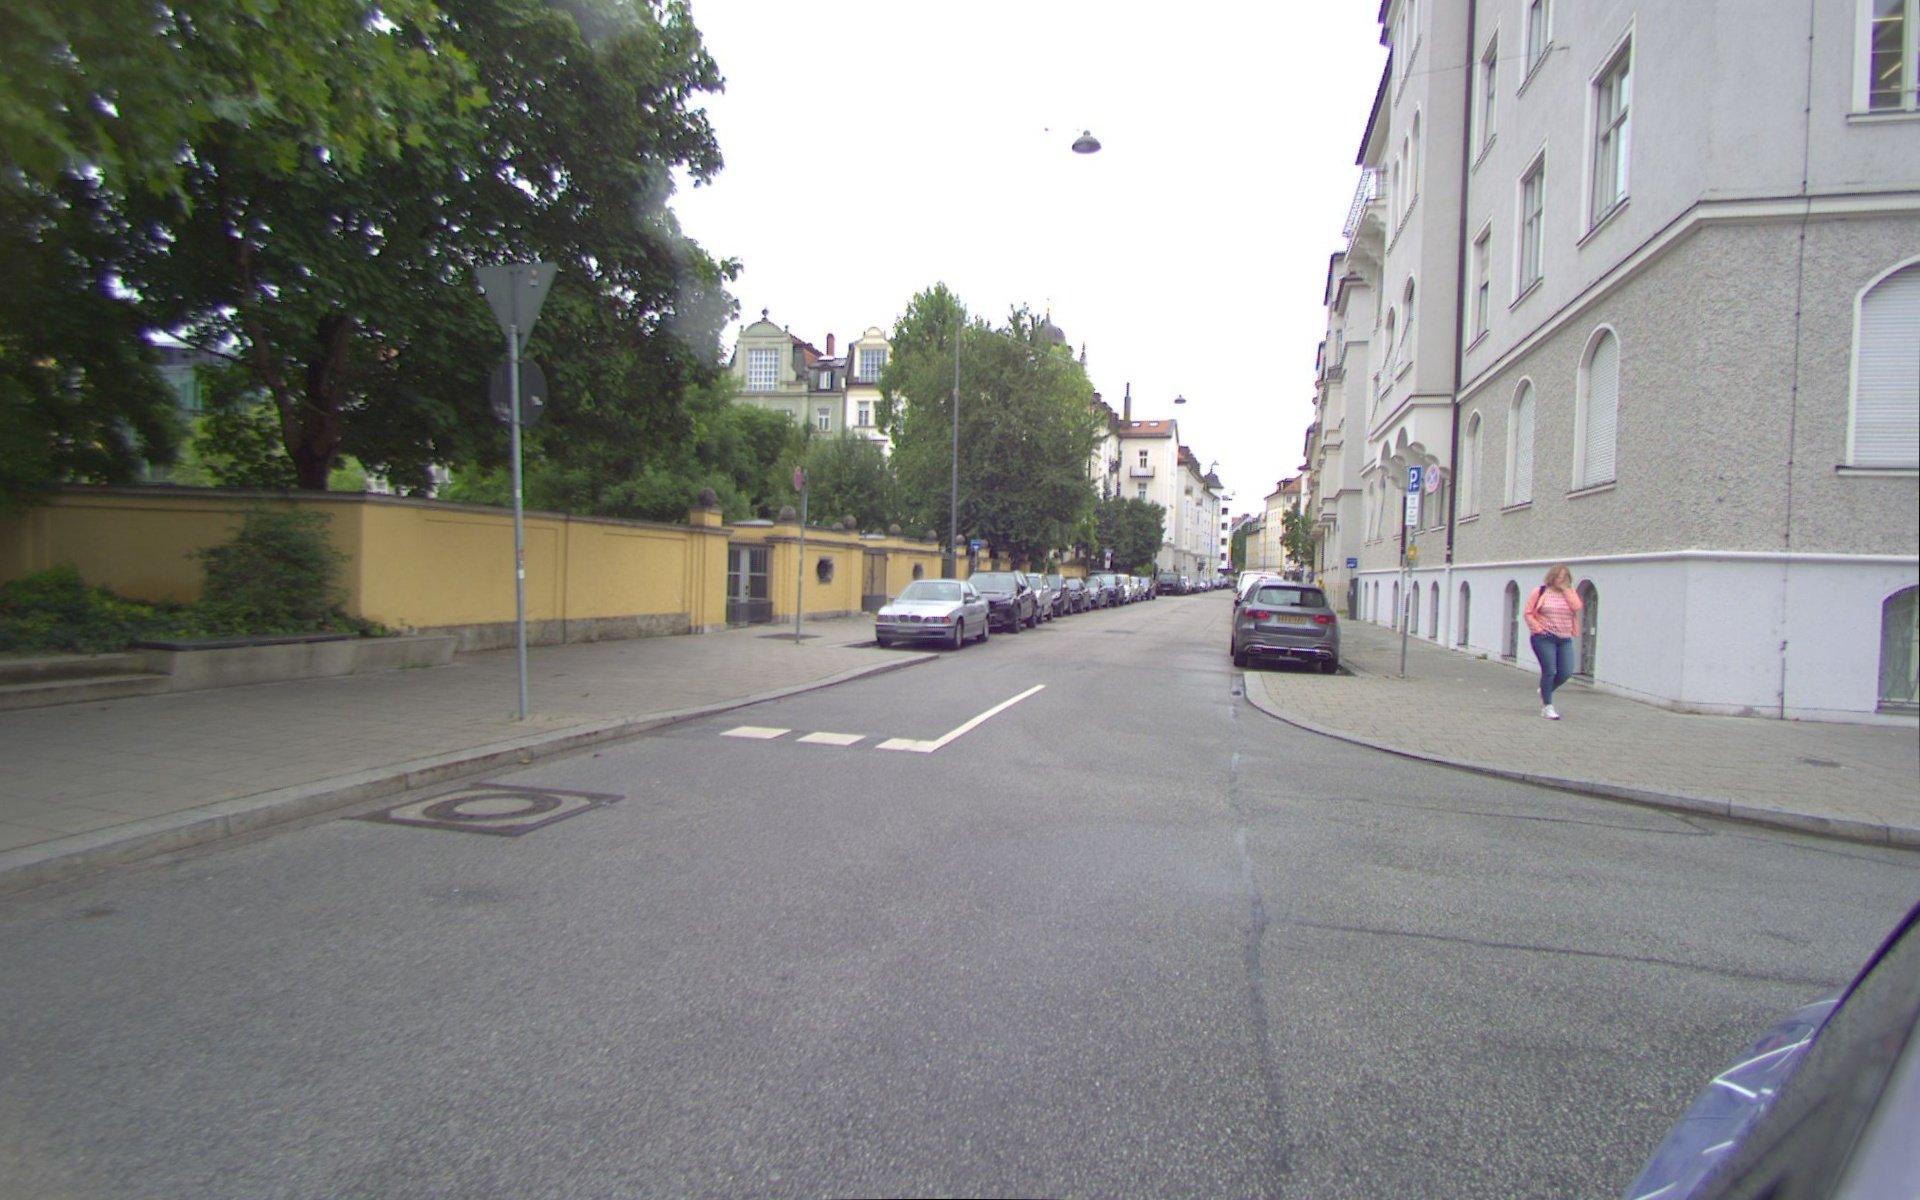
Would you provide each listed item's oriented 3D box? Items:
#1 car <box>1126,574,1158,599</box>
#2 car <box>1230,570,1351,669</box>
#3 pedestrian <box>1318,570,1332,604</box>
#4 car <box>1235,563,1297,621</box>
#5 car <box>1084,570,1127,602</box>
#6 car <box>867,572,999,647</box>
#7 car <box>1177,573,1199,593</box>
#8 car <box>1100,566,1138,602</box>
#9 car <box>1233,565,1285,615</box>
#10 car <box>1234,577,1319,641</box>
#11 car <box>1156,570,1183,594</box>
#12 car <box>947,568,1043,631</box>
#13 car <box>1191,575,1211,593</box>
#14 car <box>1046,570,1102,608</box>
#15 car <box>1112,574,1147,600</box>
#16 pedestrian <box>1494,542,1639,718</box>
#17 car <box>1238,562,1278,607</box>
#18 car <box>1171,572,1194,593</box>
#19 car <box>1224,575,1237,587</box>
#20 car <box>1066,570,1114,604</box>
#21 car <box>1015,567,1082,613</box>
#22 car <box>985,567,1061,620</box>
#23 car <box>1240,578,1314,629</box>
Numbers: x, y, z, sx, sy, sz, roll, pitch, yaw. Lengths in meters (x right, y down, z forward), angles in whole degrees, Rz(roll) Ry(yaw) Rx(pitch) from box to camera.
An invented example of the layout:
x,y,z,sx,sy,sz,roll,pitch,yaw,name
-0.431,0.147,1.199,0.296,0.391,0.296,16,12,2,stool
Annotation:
x,y,z,sx,sy,sz,roll,pitch,yaw,name
11.808,-0.899,65.482,1.749,1.462,4.050,2,2,14,car
6.371,0.274,19.934,1.865,1.636,4.403,3,2,14,car
22.468,-0.803,62.266,0.701,2.038,0.705,1,1,17,pedestrian
11.075,-0.341,36.869,1.865,1.875,4.403,3,2,14,car
7.355,-0.733,50.852,1.749,1.462,4.050,2,2,14,car
-0.462,0.118,22.095,1.798,1.419,4.556,2,2,13,car
21.780,-1.637,96.632,1.750,1.824,4.323,2,2,16,car
8.846,-0.907,56.082,1.749,1.908,4.050,2,2,14,car
12.623,-0.460,42.932,1.865,1.906,4.403,3,2,14,car
8.459,0.160,27.360,1.865,1.481,4.403,3,2,14,car
16.971,-1.489,81.781,1.750,1.824,4.323,2,2,16,car
1.051,-0.081,27.762,1.798,1.549,4.556,2,2,13,car
25.457,-1.747,106.864,1.750,1.824,4.323,2,2,16,car
4.813,-0.516,42.388,1.749,1.462,4.386,2,2,14,car
10.190,-0.792,60.571,1.749,1.462,4.050,2,2,14,car
6.963,0.304,11.707,1.197,1.896,1.084,2,1,20,pedestrian
16.436,-0.892,56.008,1.865,2.284,4.402,3,2,14,car
20.174,-1.584,91.784,1.750,1.824,4.323,2,2,16,car
41.456,-2.913,155.185,1.750,1.824,4.323,2,2,16,car
6.047,-0.640,46.688,1.749,1.462,4.050,2,2,14,car
3.351,-0.423,37.720,1.798,1.549,4.386,2,2,14,car
2.113,-0.272,33.026,1.797,1.549,4.388,2,2,12,car
9.892,0.053,31.854,1.865,1.391,4.403,3,2,14,car
